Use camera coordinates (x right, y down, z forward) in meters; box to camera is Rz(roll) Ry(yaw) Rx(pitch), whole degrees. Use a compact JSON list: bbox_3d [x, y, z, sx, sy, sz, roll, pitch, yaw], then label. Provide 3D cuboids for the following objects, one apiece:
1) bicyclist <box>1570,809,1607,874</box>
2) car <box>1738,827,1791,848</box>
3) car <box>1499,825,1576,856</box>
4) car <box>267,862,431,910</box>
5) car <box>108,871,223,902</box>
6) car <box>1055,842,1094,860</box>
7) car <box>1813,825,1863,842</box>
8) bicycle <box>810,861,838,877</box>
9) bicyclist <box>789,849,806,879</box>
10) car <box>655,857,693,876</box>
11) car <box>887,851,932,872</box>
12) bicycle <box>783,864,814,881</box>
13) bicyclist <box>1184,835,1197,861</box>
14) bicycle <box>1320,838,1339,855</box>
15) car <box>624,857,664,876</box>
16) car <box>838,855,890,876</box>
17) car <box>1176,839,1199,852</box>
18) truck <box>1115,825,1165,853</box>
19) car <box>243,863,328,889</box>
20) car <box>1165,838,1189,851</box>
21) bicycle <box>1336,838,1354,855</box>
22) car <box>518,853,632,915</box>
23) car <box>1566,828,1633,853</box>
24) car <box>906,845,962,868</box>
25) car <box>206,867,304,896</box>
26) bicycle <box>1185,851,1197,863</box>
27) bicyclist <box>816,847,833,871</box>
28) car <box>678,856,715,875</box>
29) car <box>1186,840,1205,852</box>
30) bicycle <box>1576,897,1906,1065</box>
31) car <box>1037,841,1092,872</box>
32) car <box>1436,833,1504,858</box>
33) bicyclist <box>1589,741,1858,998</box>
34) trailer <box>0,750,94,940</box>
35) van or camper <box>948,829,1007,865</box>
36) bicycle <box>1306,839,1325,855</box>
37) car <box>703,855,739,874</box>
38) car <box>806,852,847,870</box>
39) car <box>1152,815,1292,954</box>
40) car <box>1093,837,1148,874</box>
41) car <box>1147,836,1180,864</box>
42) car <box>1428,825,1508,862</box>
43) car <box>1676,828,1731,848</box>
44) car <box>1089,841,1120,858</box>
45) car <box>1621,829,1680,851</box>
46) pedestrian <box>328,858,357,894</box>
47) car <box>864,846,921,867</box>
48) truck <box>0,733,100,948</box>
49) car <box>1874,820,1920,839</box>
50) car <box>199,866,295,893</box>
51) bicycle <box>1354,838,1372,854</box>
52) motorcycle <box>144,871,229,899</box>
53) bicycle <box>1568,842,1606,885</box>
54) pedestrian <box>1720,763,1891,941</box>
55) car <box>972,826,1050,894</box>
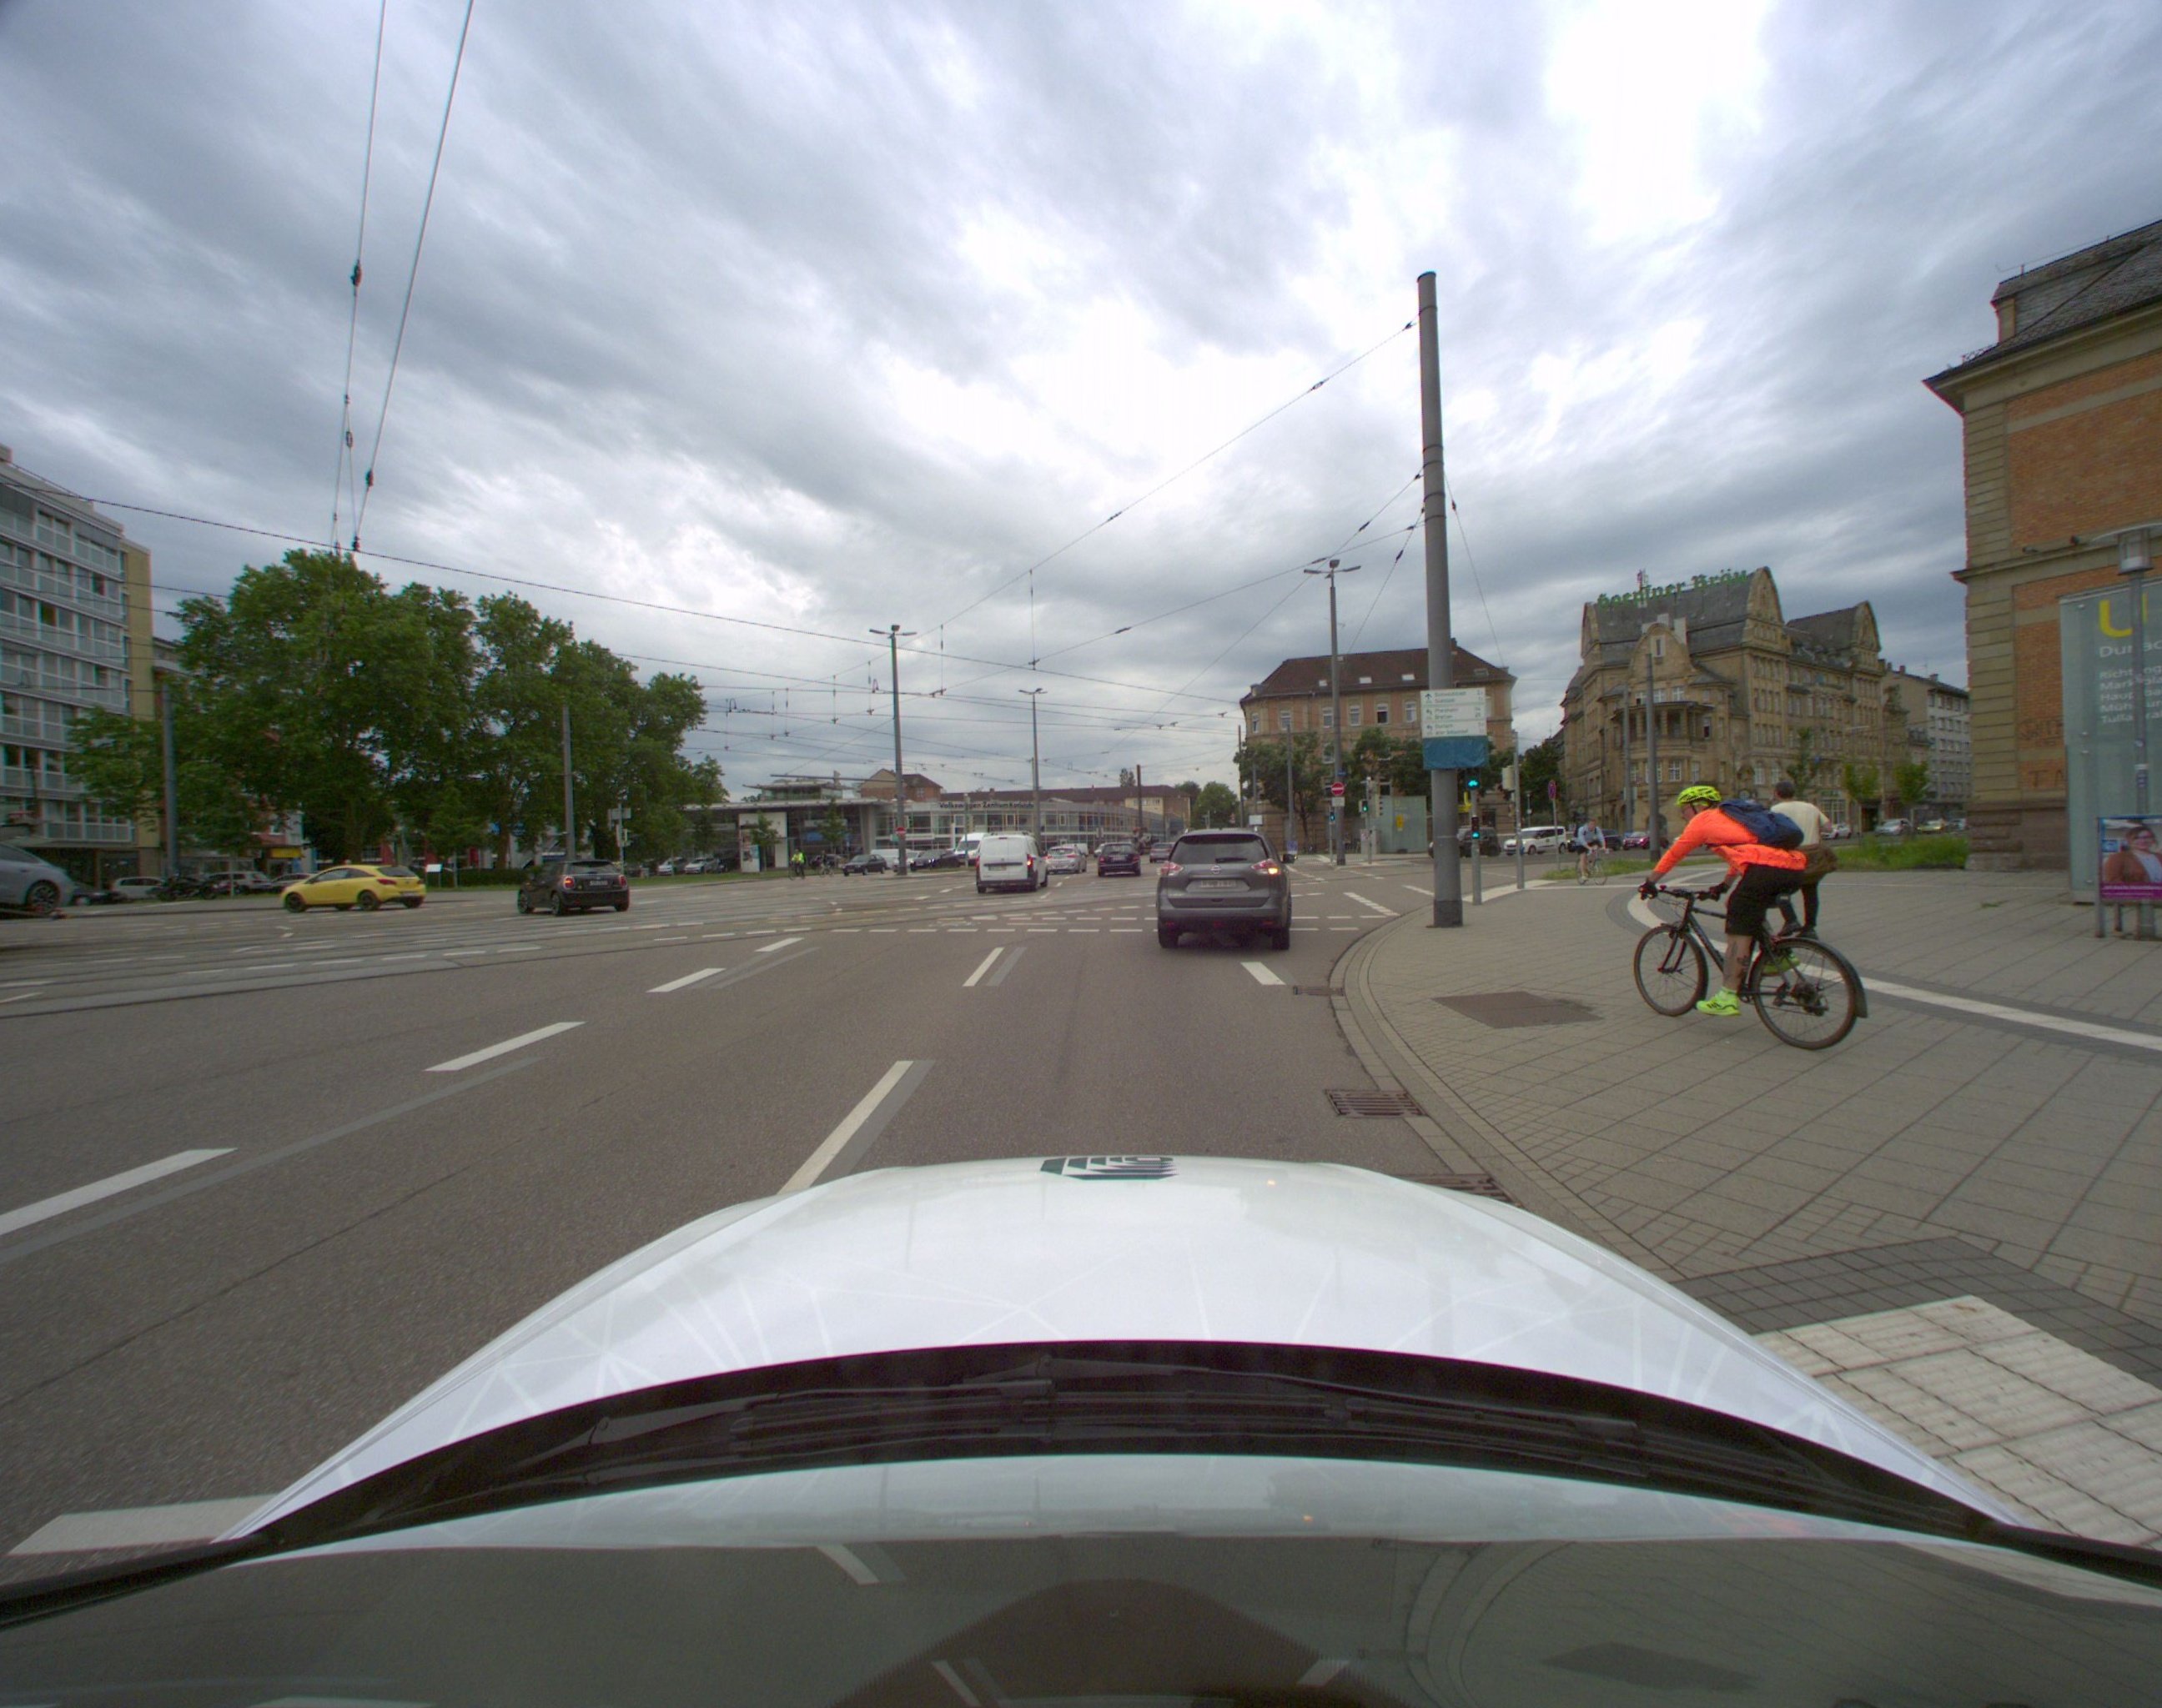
[{"bbox_3d":[12.658,-0.312,20.299,0.684,1.560,0.932,-3,1,33],"label":"bicyclist"},{"bbox_3d":[51.503,-1.264,61.356,4.009,1.442,1.679,-2,0,-27],"label":"car"},{"bbox_3d":[30.038,-0.893,53.556,5.111,1.916,1.853,-2,0,-26],"label":"car"},{"bbox_3d":[-23.880,1.028,26.643,3.964,1.494,1.828,0,0,8],"label":"car"},{"bbox_3d":[-54.240,1.900,48.342,4.003,1.552,1.985,-2,0,-22],"label":"car"},{"bbox_3d":[-0.674,-0.395,90.615,2.137,1.856,5.478,-1,1,23],"label":"car"},{"bbox_3d":[66.681,-1.815,71.708,4.268,1.380,1.915,-2,1,-28],"label":"car"},{"bbox_3d":[-16.688,0.980,52.897,0.514,0.926,2.234,-2,1,18],"label":"bicycle"},{"bbox_3d":[-17.445,0.589,50.121,0.622,1.803,0.801,-2,0,18],"label":"bicyclist"},{"bbox_3d":[-44.879,1.347,89.824,1.985,2.013,4.003,-1,0,3],"label":"car"},{"bbox_3d":[-12.251,0.509,58.338,1.623,1.420,3.752,-2,1,14],"label":"car"},{"bbox_3d":[-17.454,1.105,50.291,0.514,0.930,2.234,-2,1,18],"label":"bicycle"},{"bbox_3d":[7.209,-0.409,53.615,0.685,1.708,0.799,-2,0,2],"label":"bicyclist"},{"bbox_3d":[21.261,-0.633,69.660,0.949,1.354,3.139,-1,0,27],"label":"bicycle"},{"bbox_3d":[-47.994,1.382,89.528,1.985,2.013,4.003,-1,0,3],"label":"car"},{"bbox_3d":[-14.125,0.733,53.216,1.674,1.247,3.752,-2,1,14],"label":"car"},{"bbox_3d":[16.207,-1.335,123.905,1.975,1.838,4.550,-1,1,26],"label":"car"},{"bbox_3d":[7.877,-1.896,107.364,2.767,3.549,9.281,-1,0,29],"label":"truck"},{"bbox_3d":[-58.289,1.587,59.777,4.004,1.706,1.985,-1,0,-23],"label":"car"},{"bbox_3d":[14.000,-1.406,118.124,1.975,1.838,4.550,-1,1,26],"label":"car"},{"bbox_3d":[22.480,-0.645,69.210,0.949,1.354,3.139,-1,0,27],"label":"bicycle"},{"bbox_3d":[-13.741,0.766,22.020,1.786,1.468,3.950,-2,1,-44],"label":"car"},{"bbox_3d":[35.679,-0.923,56.044,4.311,1.534,1.853,-2,-1,-26],"label":"car"},{"bbox_3d":[-9.912,0.151,55.300,1.979,1.420,4.680,-2,1,14],"label":"car"},{"bbox_3d":[-53.746,1.755,53.112,4.004,1.706,1.985,-1,0,-23],"label":"car"},{"bbox_3d":[7.236,0.183,53.619,0.616,0.793,1.593,-2,0,3],"label":"bicycle"},{"bbox_3d":[-16.664,0.348,52.908,0.561,1.508,0.861,-2,2,18],"label":"bicyclist"},{"bbox_3d":[-42.364,1.292,89.857,1.985,2.013,4.003,-1,0,3],"label":"car"},{"bbox_3d":[18.359,-1.333,130.413,1.976,1.838,4.547,-2,1,21],"label":"car"},{"bbox_3d":[4.548,0.805,5.861,0.555,0.848,2.070,-2,0,-5],"label":"bicycle"},{"bbox_3d":[-0.786,0.127,42.119,1.840,1.508,4.015,-1,0,13],"label":"car"},{"bbox_3d":[23.991,-0.541,50.196,4.009,1.442,1.679,-2,0,-27],"label":"car"},{"bbox_3d":[4.537,0.088,5.880,0.825,1.621,1.319,-2,0,-5],"label":"bicyclist"},{"bbox_3d":[-26.996,-0.142,18.695,9.437,3.973,3.013,-1,0,24],"label":"trailer"},{"bbox_3d":[-7.868,-0.535,62.651,2.397,2.611,6.075,-1,0,14],"label":"van or camper"},{"bbox_3d":[20.185,-0.623,70.075,0.949,1.354,3.139,-1,0,27],"label":"bicycle"},{"bbox_3d":[-39.542,1.164,89.560,1.985,2.013,4.003,-1,0,3],"label":"car"},{"bbox_3d":[-22.812,0.622,73.138,1.622,1.420,3.754,-2,1,17],"label":"car"},{"bbox_3d":[2.294,0.379,12.445,1.737,1.755,3.939,-2,0,14],"label":"car"},{"bbox_3d":[1.718,0.044,34.030,1.983,1.420,4.007,-2,0,6],"label":"car"},{"bbox_3d":[6.166,-0.286,60.727,1.980,2.013,4.014,-1,0,12],"label":"car"},{"bbox_3d":[21.617,-0.594,45.450,4.396,1.900,1.679,-2,0,-27],"label":"car"},{"bbox_3d":[48.169,-1.227,63.017,4.375,1.380,1.735,-2,-2,-30],"label":"car"},{"bbox_3d":[2.901,-0.565,98.053,1.975,1.838,4.550,-1,1,26],"label":"car"},{"bbox_3d":[41.165,-1.025,58.877,3.904,1.399,1.852,-2,-2,-27],"label":"car"},{"bbox_3d":[-36.094,1.051,39.821,0.918,1.719,0.700,-1,0,-31],"label":"pedestrian"},{"bbox_3d":[-17.931,0.235,77.590,4.731,2.013,2.129,-1,0,14],"label":"car"},{"bbox_3d":[-20.259,-0.232,11.570,3.014,3.920,10.390,-1,0,-19],"label":"truck"},{"bbox_3d":[78.194,-2.332,78.004,4.923,1.706,1.851,-2,-1,-30],"label":"car"},{"bbox_3d":[-56.308,1.703,55.076,4.004,1.706,1.985,-1,0,-23],"label":"car"},{"bbox_3d":[23.938,-0.660,69.059,0.949,1.354,3.139,-1,0,27],"label":"bicycle"},{"bbox_3d":[-41.717,1.435,38.004,2.546,1.178,0.859,-1,0,-19],"label":"motorcycle"},{"bbox_3d":[12.648,0.230,20.338,0.664,0.933,1.871,-5,0,34],"label":"bicycle"},{"bbox_3d":[8.230,-0.020,9.334,0.879,1.867,1.290,-2,0,10],"label":"pedestrian"},{"bbox_3d":[-2.143,0.145,26.017,1.905,1.940,4.134,-2,0,2],"label":"car"}]
